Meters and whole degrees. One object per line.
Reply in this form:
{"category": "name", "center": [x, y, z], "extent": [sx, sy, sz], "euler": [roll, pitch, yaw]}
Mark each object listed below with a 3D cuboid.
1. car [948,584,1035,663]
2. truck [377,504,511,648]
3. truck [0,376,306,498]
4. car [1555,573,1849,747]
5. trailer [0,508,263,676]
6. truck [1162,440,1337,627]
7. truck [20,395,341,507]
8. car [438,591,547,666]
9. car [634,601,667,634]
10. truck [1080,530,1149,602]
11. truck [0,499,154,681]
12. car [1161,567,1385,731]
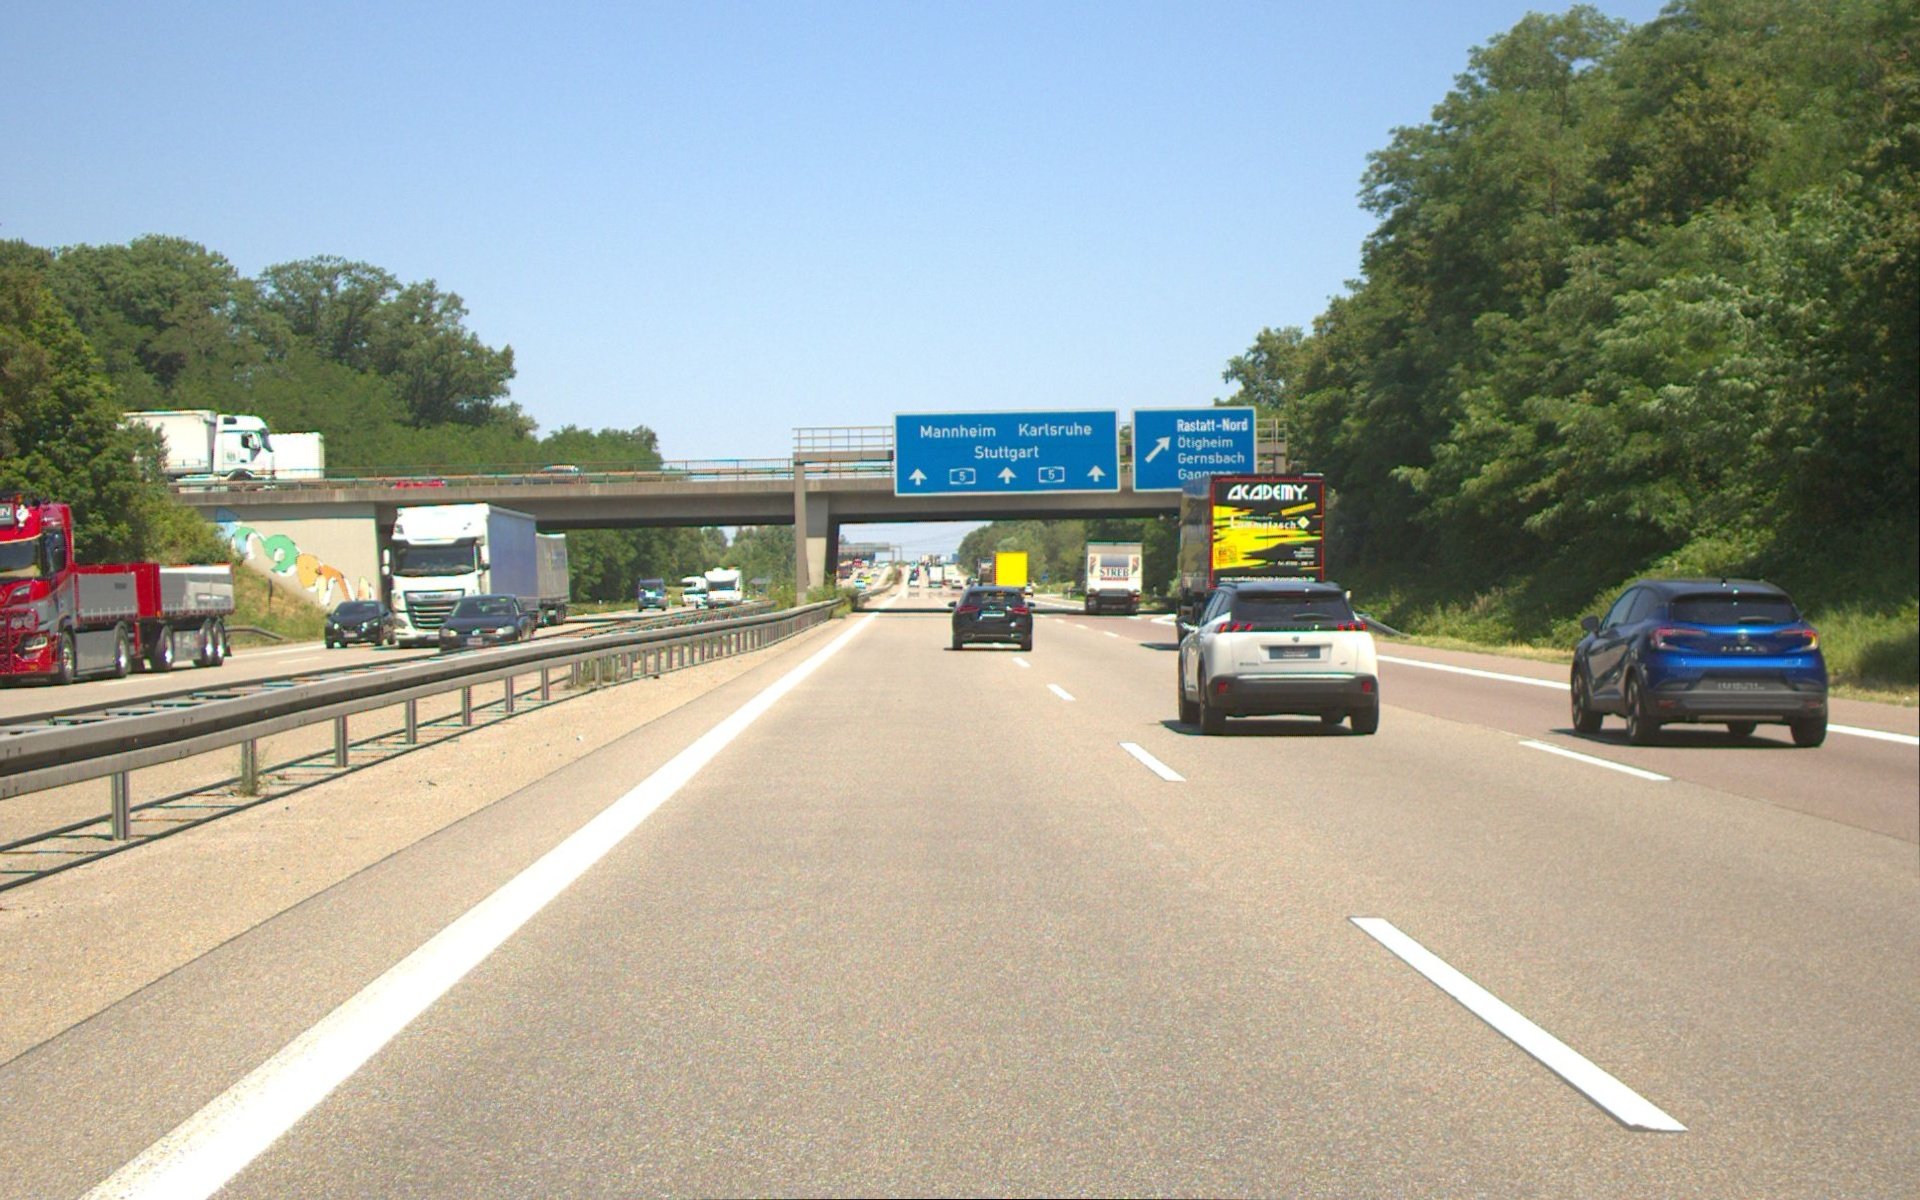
{"category": "car", "center": [0.677, 0.503, 77.097], "extent": [1.827, 1.700, 4.000], "euler": [1, 0, -1]}
{"category": "truck", "center": [-14.927, -0.681, 99.828], "extent": [2.986, 4.005, 6.041], "euler": [1, 0, 0]}
{"category": "truck", "center": [-40.342, -7.890, 167.114], "extent": [16.458, 5.547, 3.175], "euler": [1, 0, -5]}
{"category": "car", "center": [7.076, 0.537, 33.204], "extent": [1.870, 1.551, 4.201], "euler": [1, 0, -1]}
{"category": "trailer", "center": [-18.230, -0.176, 76.567], "extent": [2.779, 3.382, 13.290], "euler": [1, 0, 0]}
{"category": "truck", "center": [6.697, -1.474, 81.058], "extent": [2.975, 4.023, 10.982], "euler": [2, 0, -1]}
{"category": "truck", "center": [-41.564, -7.930, 183.762], "extent": [16.457, 5.547, 3.175], "euler": [1, 0, -7]}
{"category": "car", "center": [-10.389, 0.612, 76.717], "extent": [1.807, 1.585, 4.669], "euler": [1, 0, 0]}
{"category": "car", "center": [-22.605, 1.266, 251.282], "extent": [2.089, 2.391, 5.735], "euler": [1, 0, -2]}
{"category": "truck", "center": [7.455, -1.572, 164.647], "extent": [3.028, 3.308, 10.769], "euler": [1, 0, 4]}
{"category": "truck", "center": [-18.192, -0.205, 67.887], "extent": [2.749, 3.382, 7.662], "euler": [1, 0, 0]}
{"category": "car", "center": [3.190, 0.475, 35.930], "extent": [1.827, 1.603, 4.809], "euler": [0, 0, -1]}
